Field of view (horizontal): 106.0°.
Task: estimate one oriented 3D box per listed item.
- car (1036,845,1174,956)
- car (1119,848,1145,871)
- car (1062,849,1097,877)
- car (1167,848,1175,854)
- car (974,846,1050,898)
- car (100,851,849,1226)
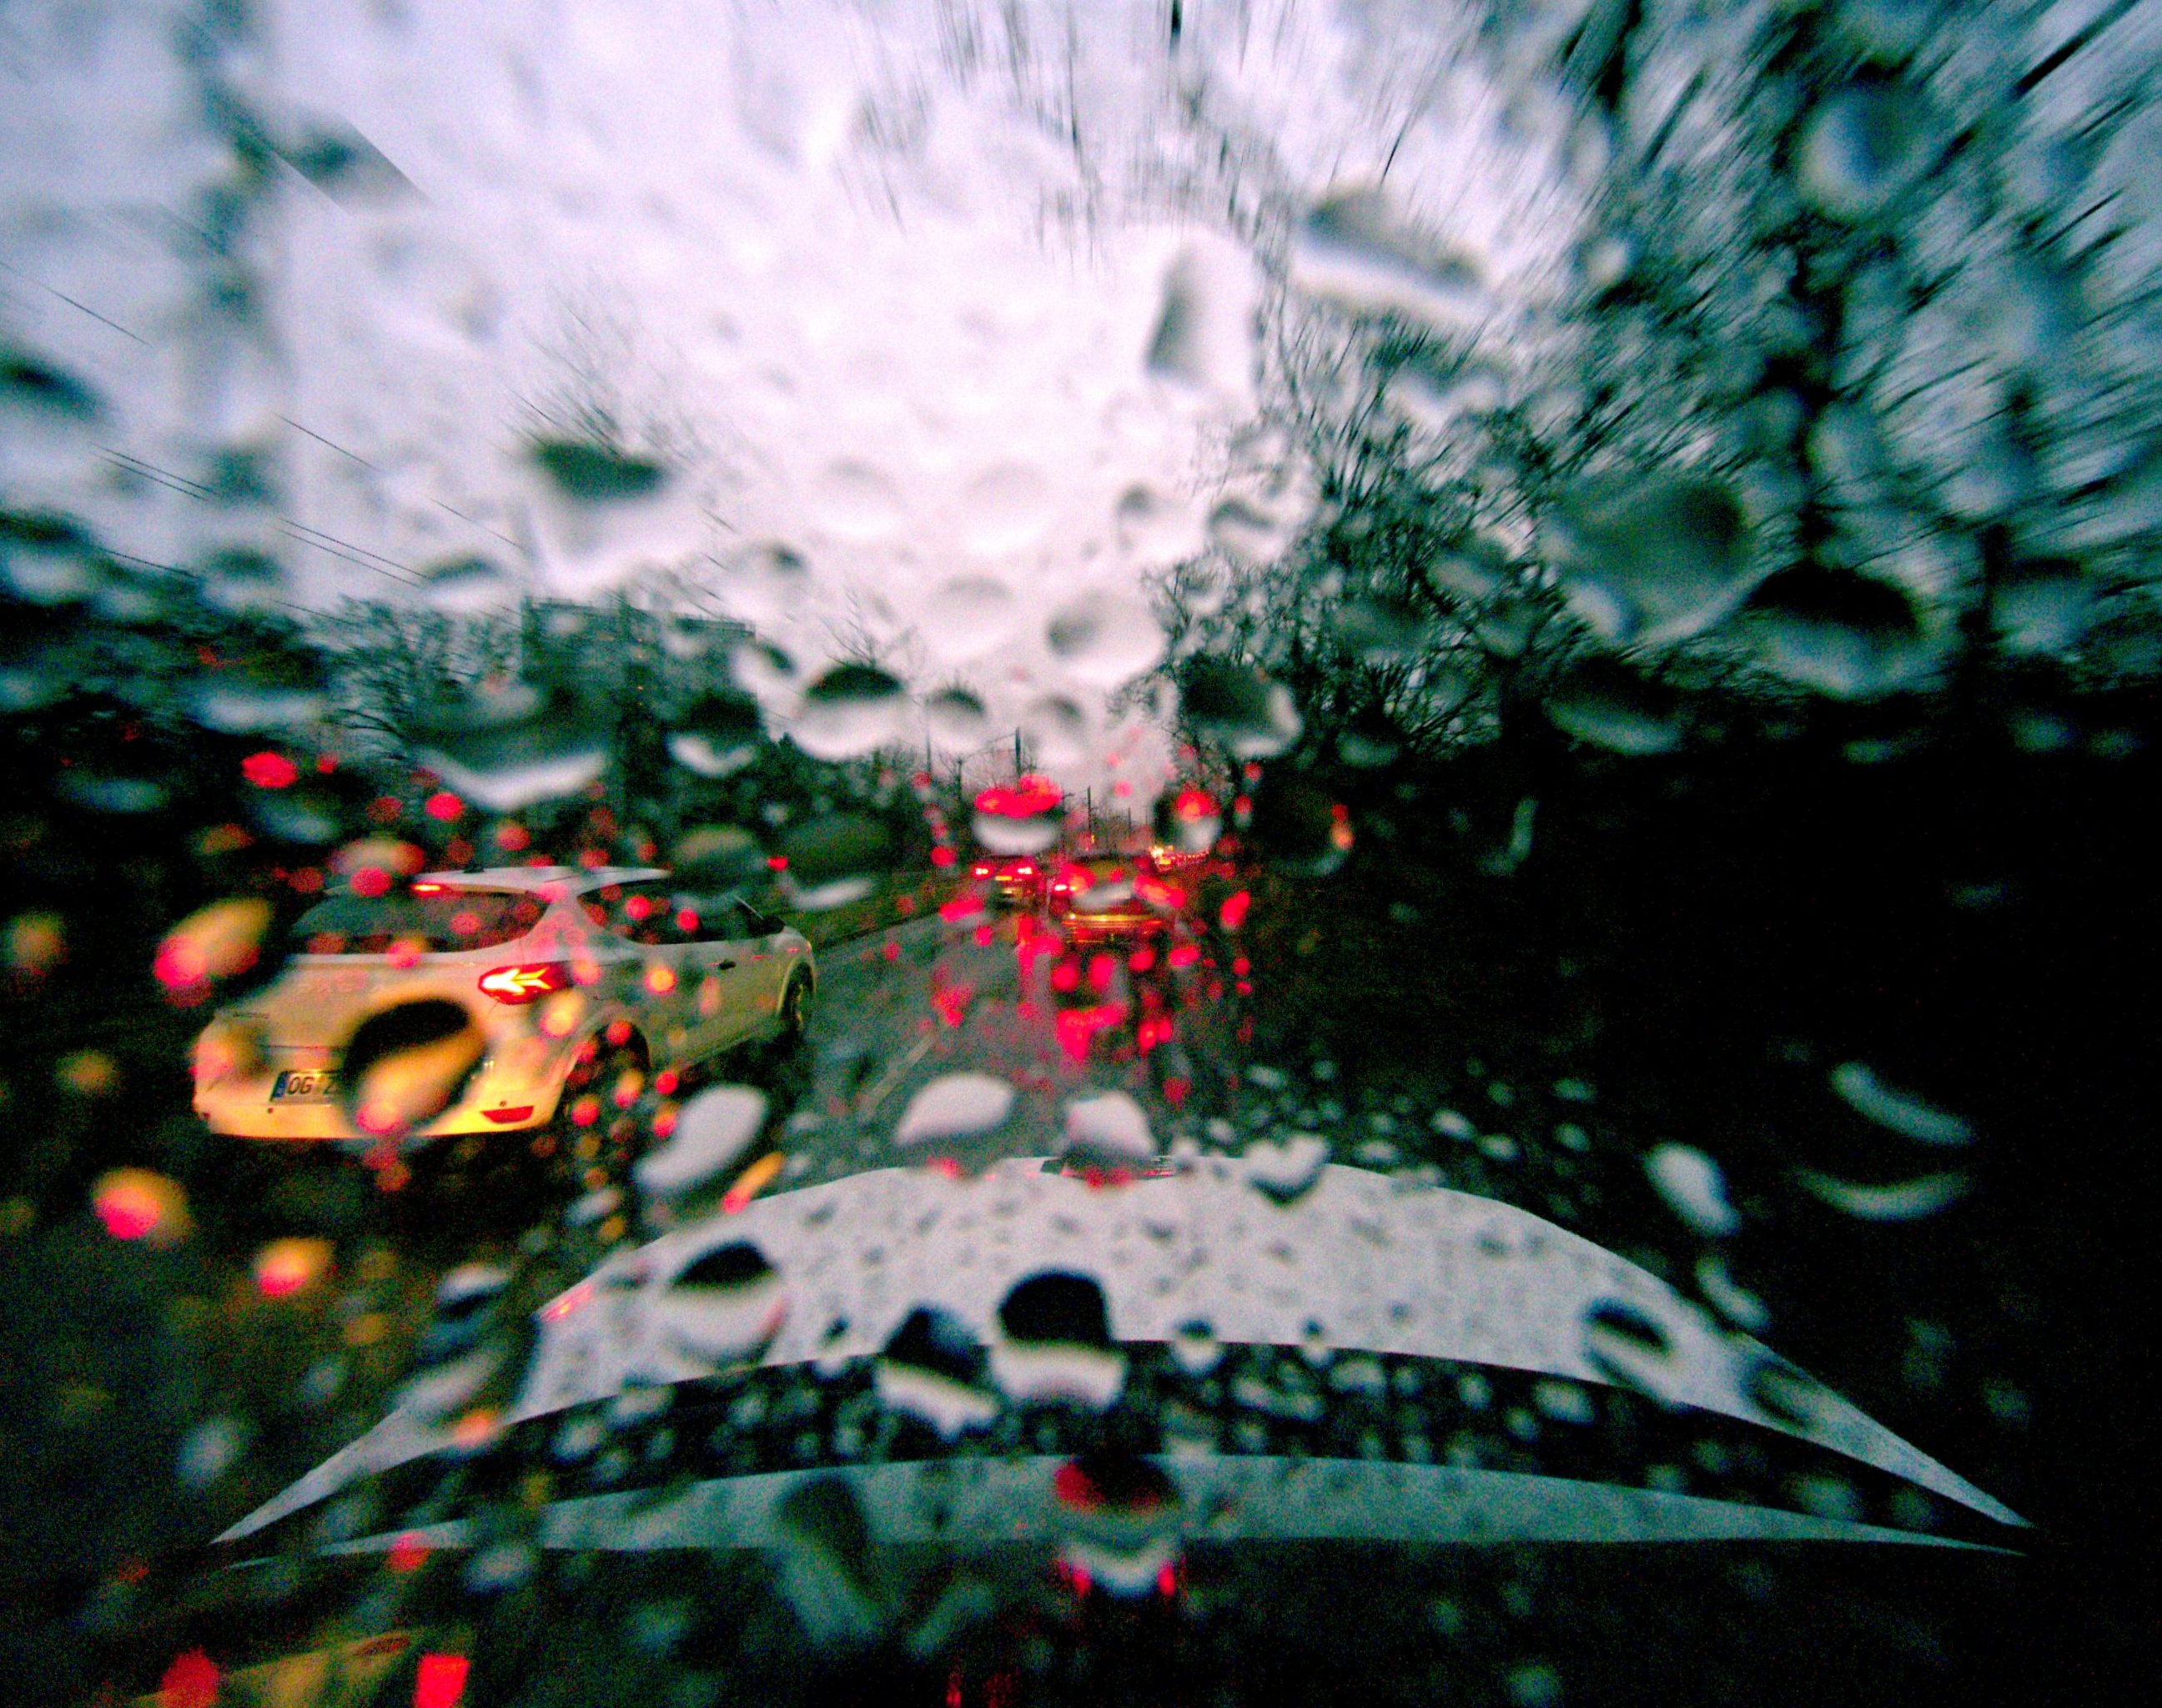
[{"bbox_3d":[0.384,0.656,13.886,1.991,1.584,4.001,-1,0,1],"label":"car"},{"bbox_3d":[3.686,0.368,58.144,1.700,1.558,4.002,-2,0,6],"label":"car"},{"bbox_3d":[-0.040,0.516,50.411,1.872,1.593,4.003,-2,1,3],"label":"car"},{"bbox_3d":[26.690,-0.961,242.007,1.981,1.666,3.847,-2,0,10],"label":"car"},{"bbox_3d":[-2.094,0.516,25.863,1.873,1.459,4.003,-2,1,2],"label":"car"},{"bbox_3d":[-3.133,0.769,5.454,1.701,1.525,4.139,-2,0,3],"label":"car"}]
